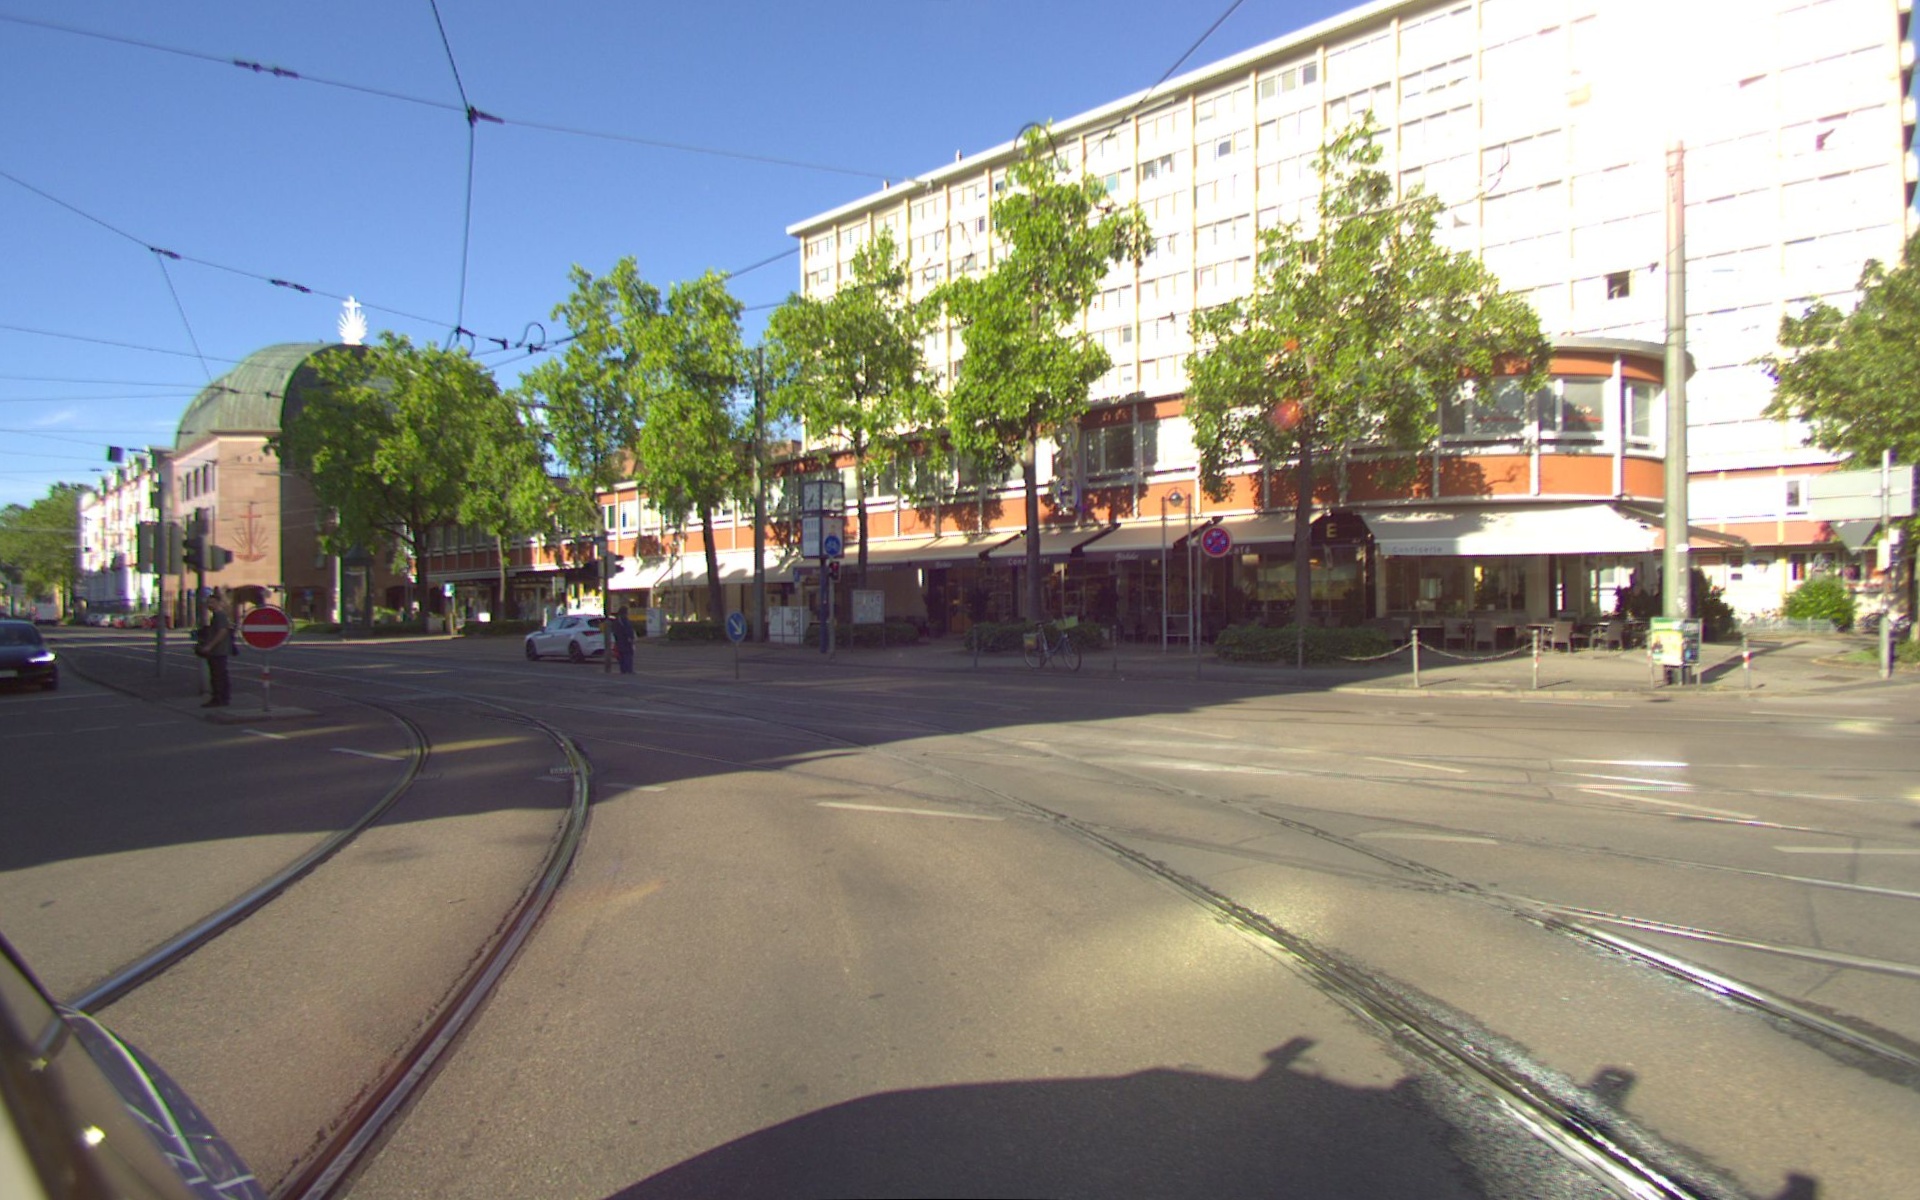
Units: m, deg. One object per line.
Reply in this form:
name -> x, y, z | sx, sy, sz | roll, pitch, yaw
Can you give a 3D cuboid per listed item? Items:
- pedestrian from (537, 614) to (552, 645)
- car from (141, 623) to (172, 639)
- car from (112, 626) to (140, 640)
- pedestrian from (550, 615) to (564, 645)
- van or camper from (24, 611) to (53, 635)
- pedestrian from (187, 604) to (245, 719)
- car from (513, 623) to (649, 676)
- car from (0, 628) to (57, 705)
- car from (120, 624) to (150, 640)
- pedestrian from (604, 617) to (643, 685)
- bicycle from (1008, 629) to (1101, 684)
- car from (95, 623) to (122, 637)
pedestrian -> -24.556, 1.730, 59.805 | 0.706, 1.785, 0.566 | -3, -2, 44
car -> -75.224, 2.899, 94.741 | 3.470, 1.465, 1.730 | -3, -1, 42
car -> -86.236, 3.406, 104.632 | 3.853, 1.364, 1.831 | -3, -1, 43
pedestrian -> -24.038, 1.791, 60.357 | 0.706, 1.764, 0.566 | -3, -2, 44
van or camper -> -110.112, 2.797, 120.870 | 7.020, 2.760, 2.014 | -3, -3, 43
pedestrian -> -11.870, 0.970, 16.142 | 0.895, 1.777, 0.552 | -3, -4, 43
car -> -11.472, 1.478, 30.491 | 4.500, 1.462, 1.972 | -3, -2, 42
car -> -20.003, 1.370, 20.764 | 4.153, 1.434, 1.791 | -2, 0, 43
car -> -82.507, 3.229, 101.219 | 3.853, 1.465, 1.831 | -3, -1, 43
pedestrian -> -7.737, 1.161, 23.239 | 0.859, 1.529, 0.494 | -3, -4, 43
bicycle -> 2.139, 1.275, 23.138 | 2.234, 1.195, 0.492 | -3, -2, 42
car -> -94.629, 3.367, 112.478 | 3.853, 1.465, 1.831 | -3, -1, 43
